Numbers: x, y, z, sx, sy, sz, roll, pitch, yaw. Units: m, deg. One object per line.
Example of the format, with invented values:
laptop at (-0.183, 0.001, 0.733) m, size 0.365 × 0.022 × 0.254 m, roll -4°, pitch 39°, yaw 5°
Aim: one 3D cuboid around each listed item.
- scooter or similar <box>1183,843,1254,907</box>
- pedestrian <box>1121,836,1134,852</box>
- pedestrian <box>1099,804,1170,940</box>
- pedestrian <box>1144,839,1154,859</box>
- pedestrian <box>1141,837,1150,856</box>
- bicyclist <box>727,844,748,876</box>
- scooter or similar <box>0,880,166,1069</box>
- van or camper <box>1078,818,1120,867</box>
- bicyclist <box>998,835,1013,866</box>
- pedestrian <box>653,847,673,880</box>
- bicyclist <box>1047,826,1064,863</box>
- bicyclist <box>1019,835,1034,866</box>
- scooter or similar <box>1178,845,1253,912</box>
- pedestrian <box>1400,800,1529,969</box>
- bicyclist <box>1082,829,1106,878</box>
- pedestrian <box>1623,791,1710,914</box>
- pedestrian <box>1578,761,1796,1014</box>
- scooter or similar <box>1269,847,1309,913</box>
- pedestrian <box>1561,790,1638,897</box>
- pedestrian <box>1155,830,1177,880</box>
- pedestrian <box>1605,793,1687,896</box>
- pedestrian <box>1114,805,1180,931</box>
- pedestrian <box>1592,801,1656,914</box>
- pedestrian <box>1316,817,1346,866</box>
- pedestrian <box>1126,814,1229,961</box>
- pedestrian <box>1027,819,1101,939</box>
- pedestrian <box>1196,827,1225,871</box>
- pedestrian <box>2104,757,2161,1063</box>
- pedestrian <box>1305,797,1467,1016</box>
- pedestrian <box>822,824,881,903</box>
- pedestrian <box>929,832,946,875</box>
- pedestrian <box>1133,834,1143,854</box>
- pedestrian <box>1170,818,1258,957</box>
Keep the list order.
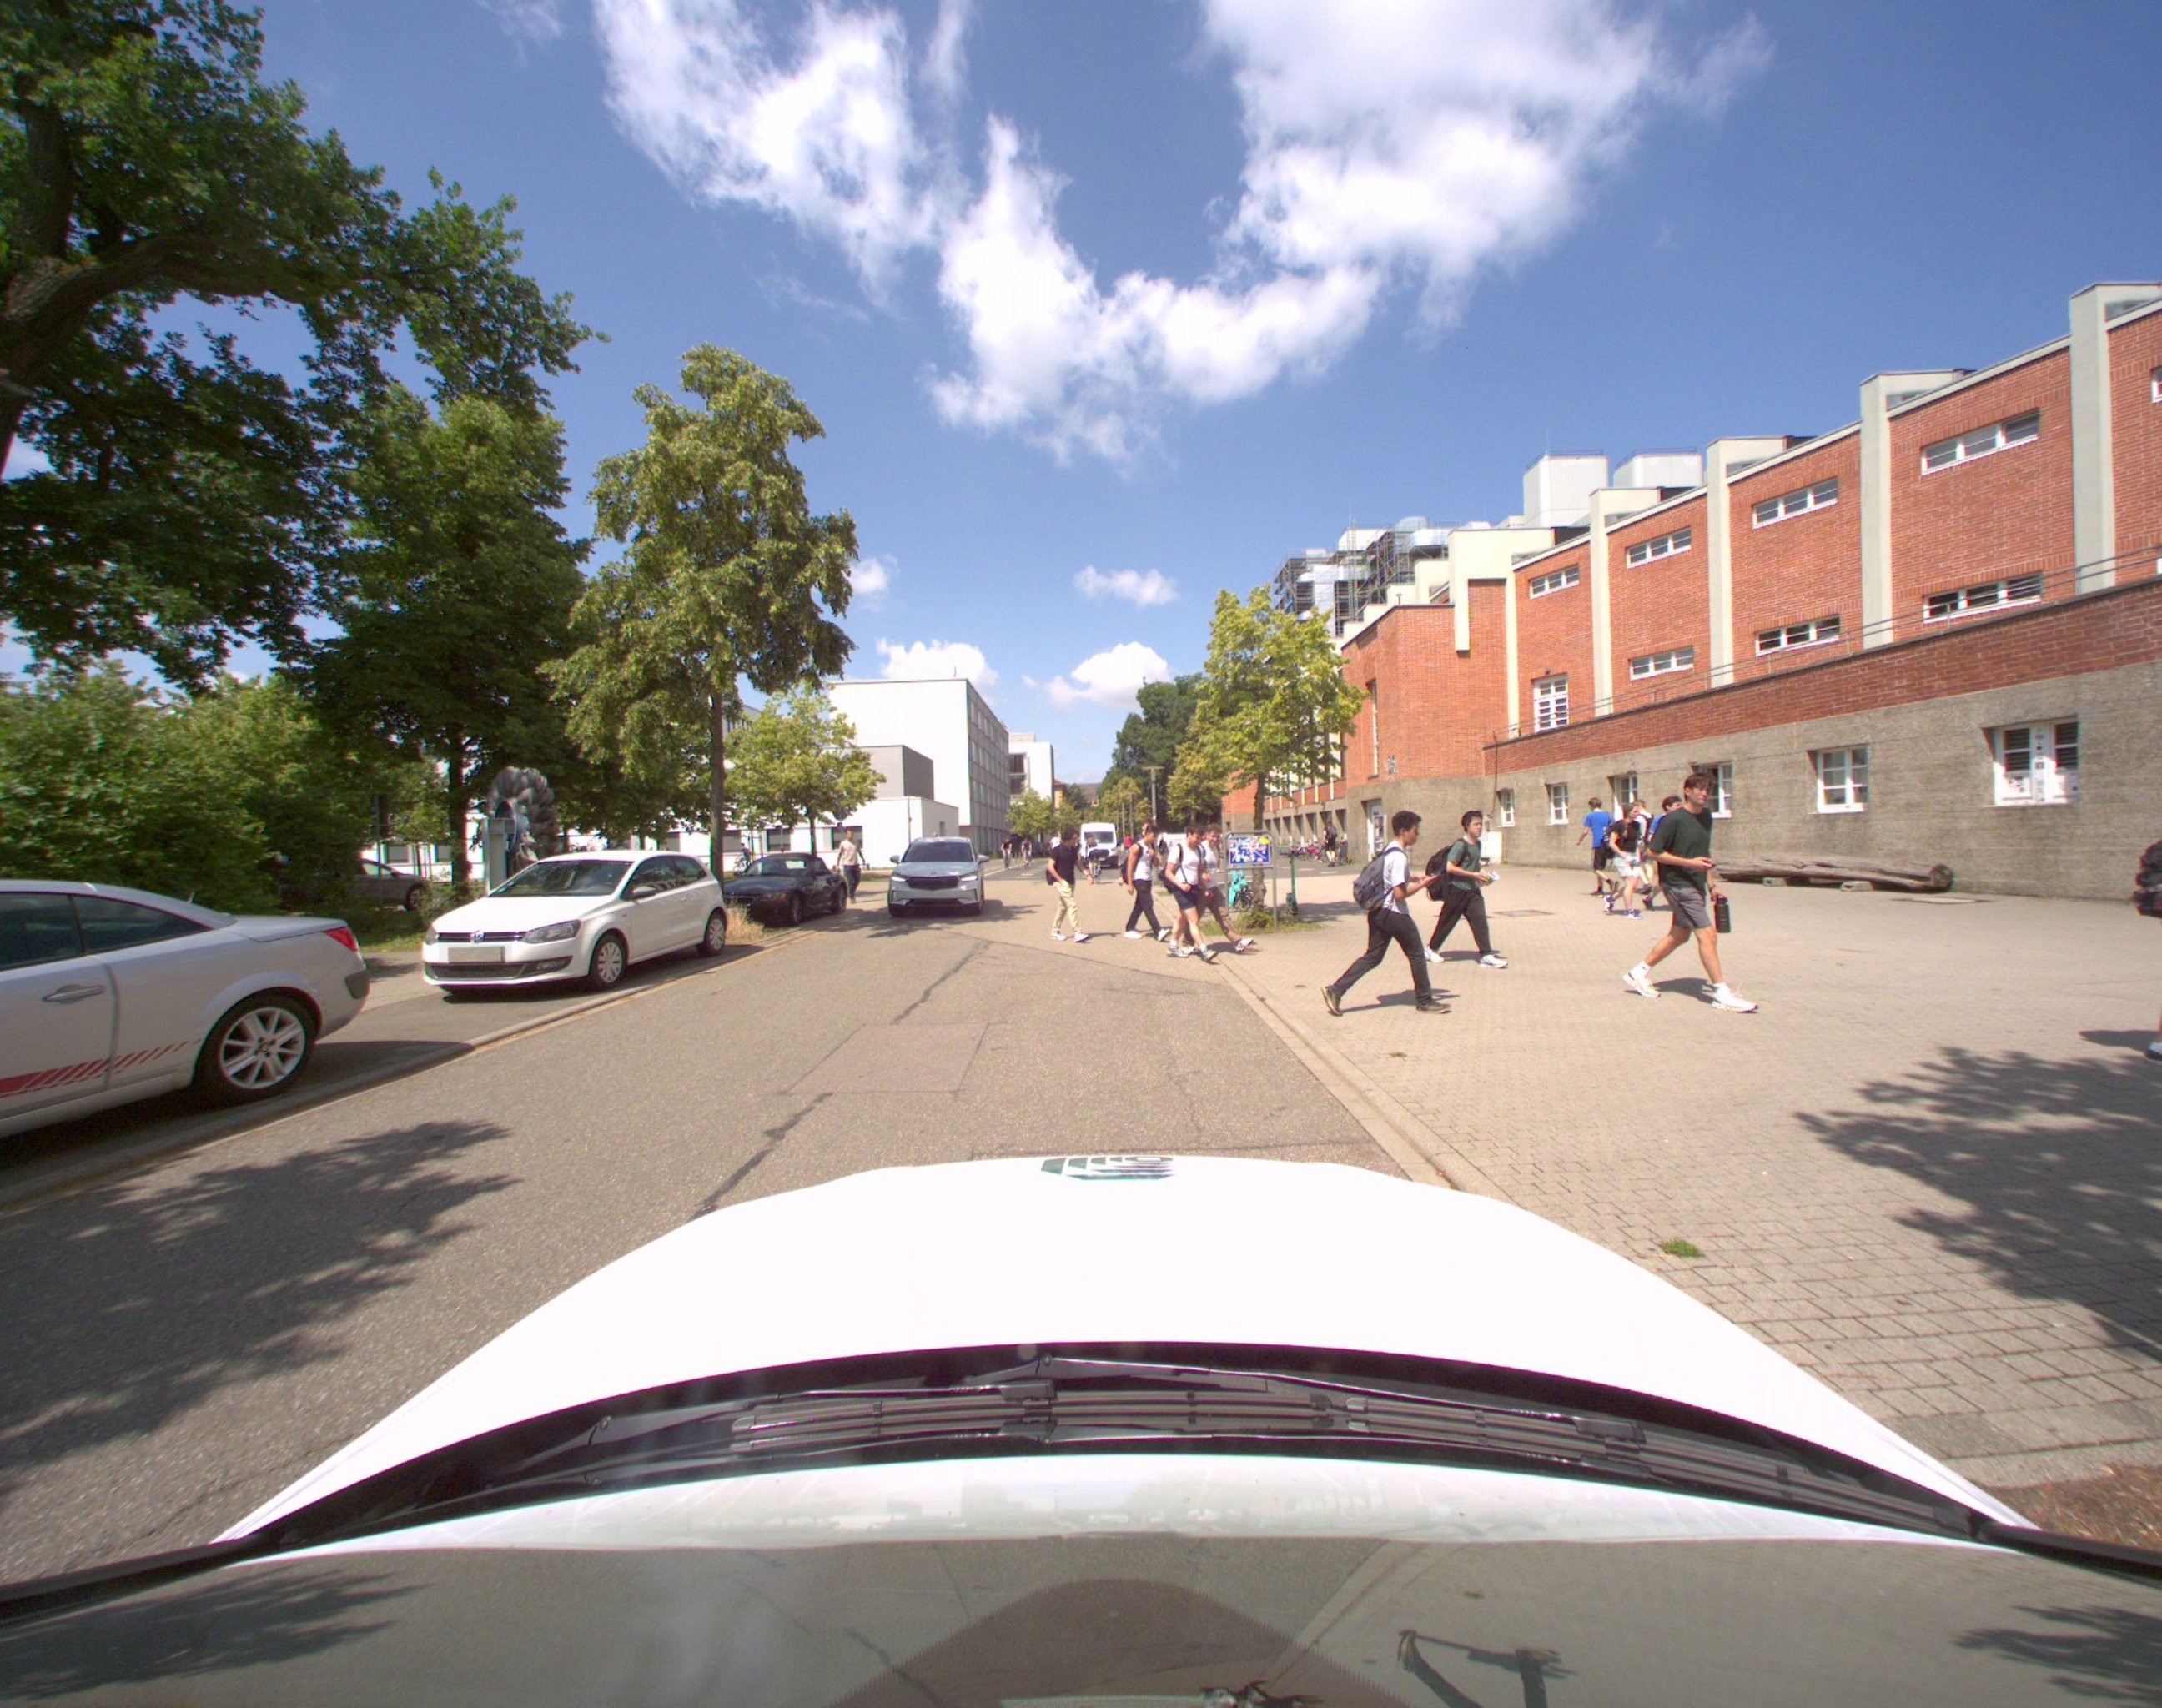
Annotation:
scooter or similar at (2.855, 0.435, 16.956) m, size 1.248 × 1.265 × 0.655 m, roll -2°, pitch 1°, yaw 32°
pedestrian at (6.268, -1.321, 110.456) m, size 1.495 × 1.996 × 1.646 m, roll -5°, pitch 2°, yaw -1°
pedestrian at (0.800, 0.272, 12.402) m, size 0.620 × 1.980 × 0.820 m, roll -3°, pitch -1°, yaw -31°
pedestrian at (6.475, -0.488, 77.800) m, size 0.787 × 1.859 × 1.026 m, roll -2°, pitch 1°, yaw 2°
pedestrian at (6.416, -0.727, 80.929) m, size 0.787 × 1.859 × 1.026 m, roll -2°, pitch 1°, yaw 2°
bicyclist at (-19.330, 0.341, 45.868) m, size 0.684 × 1.756 × 0.816 m, roll -1°, pitch 0°, yaw 27°
scooter or similar at (-8.053, 0.907, 6.247) m, size 0.522 × 1.287 × 1.229 m, roll -5°, pitch 2°, yaw 1°
van or camper at (1.025, -0.610, 44.383) m, size 1.985 × 2.445 × 4.574 m, roll -3°, pitch 0°, yaw 4°
bicyclist at (-4.011, -0.175, 43.445) m, size 0.641 × 1.601 × 0.908 m, roll -3°, pitch 1°, yaw -1°
pedestrian at (-23.117, 0.522, 45.050) m, size 0.690 × 1.749 × 0.636 m, roll -1°, pitch 0°, yaw 1°
bicyclist at (-1.196, -0.437, 38.962) m, size 0.769 × 1.756 × 0.848 m, roll -1°, pitch -1°, yaw -2°
bicyclist at (-3.013, -0.194, 45.043) m, size 0.665 × 1.681 × 0.992 m, roll -3°, pitch 1°, yaw 0°
scooter or similar at (2.673, 0.492, 16.183) m, size 1.248 × 1.265 × 0.655 m, roll -2°, pitch 1°, yaw 32°
pedestrian at (4.201, 0.307, 8.958) m, size 0.707 × 1.719 × 0.983 m, roll -5°, pitch 2°, yaw -35°
bicyclist at (0.440, -0.022, 28.138) m, size 0.715 × 1.662 × 1.094 m, roll -2°, pitch 0°, yaw -2°
pedestrian at (8.879, -0.026, 12.367) m, size 0.708 × 1.787 × 0.749 m, roll -3°, pitch 1°, yaw -12°
pedestrian at (4.908, 0.227, 6.653) m, size 0.855 × 1.859 × 1.107 m, roll -3°, pitch 1°, yaw -24°
scooter or similar at (3.953, 0.466, 15.398) m, size 0.643 × 1.160 × 1.270 m, roll -2°, pitch 1°, yaw 16°
pedestrian at (9.580, -0.203, 15.072) m, size 0.700 × 1.891 × 0.992 m, roll -3°, pitch 1°, yaw -5°
pedestrian at (2.975, 0.026, 28.552) m, size 0.700 × 1.694 × 0.962 m, roll -1°, pitch 1°, yaw 1°
pedestrian at (10.554, -0.181, 15.247) m, size 0.700 × 1.803 × 0.992 m, roll -5°, pitch 1°, yaw -4°
pedestrian at (1.089, 0.219, 13.283) m, size 0.819 × 1.980 × 0.695 m, roll -2°, pitch 1°, yaw 22°
pedestrian at (8.151, 0.049, 12.229) m, size 0.502 × 1.630 × 0.569 m, roll -3°, pitch 1°, yaw -12°
pedestrian at (9.834, -0.498, 32.099) m, size 0.787 × 1.859 × 1.116 m, roll -3°, pitch 1°, yaw 0°
pedestrian at (1.204, 0.394, 10.198) m, size 0.971 × 1.739 × 0.705 m, roll -2°, pitch 1°, yaw 40°
pedestrian at (-0.252, 0.365, 12.493) m, size 0.794 × 1.772 × 0.859 m, roll -2°, pitch 1°, yaw 22°
pedestrian at (5.196, -0.205, 32.808) m, size 0.851 × 1.732 × 1.159 m, roll -3°, pitch 1°, yaw -4°
pedestrian at (6.117, 0.264, 4.286) m, size 0.855 × 1.595 × 0.820 m, roll -4°, pitch 2°, yaw -42°
pedestrian at (2.524, 0.422, 6.850) m, size 1.098 × 1.716 × 0.712 m, roll -3°, pitch 1°, yaw 9°
pedestrian at (-5.765, 0.229, 20.425) m, size 1.022 × 1.903 × 1.165 m, roll -3°, pitch 1°, yaw -36°
pedestrian at (-6.150, -0.023, 34.876) m, size 0.667 × 1.785 × 0.981 m, roll -2°, pitch -1°, yaw -12°
pedestrian at (5.470, -0.987, 78.032) m, size 0.787 × 1.859 × 1.244 m, roll -2°, pitch 1°, yaw 2°
pedestrian at (1.747, 0.413, 10.715) m, size 0.897 × 1.739 × 0.683 m, roll 0°, pitch 1°, yaw 39°
